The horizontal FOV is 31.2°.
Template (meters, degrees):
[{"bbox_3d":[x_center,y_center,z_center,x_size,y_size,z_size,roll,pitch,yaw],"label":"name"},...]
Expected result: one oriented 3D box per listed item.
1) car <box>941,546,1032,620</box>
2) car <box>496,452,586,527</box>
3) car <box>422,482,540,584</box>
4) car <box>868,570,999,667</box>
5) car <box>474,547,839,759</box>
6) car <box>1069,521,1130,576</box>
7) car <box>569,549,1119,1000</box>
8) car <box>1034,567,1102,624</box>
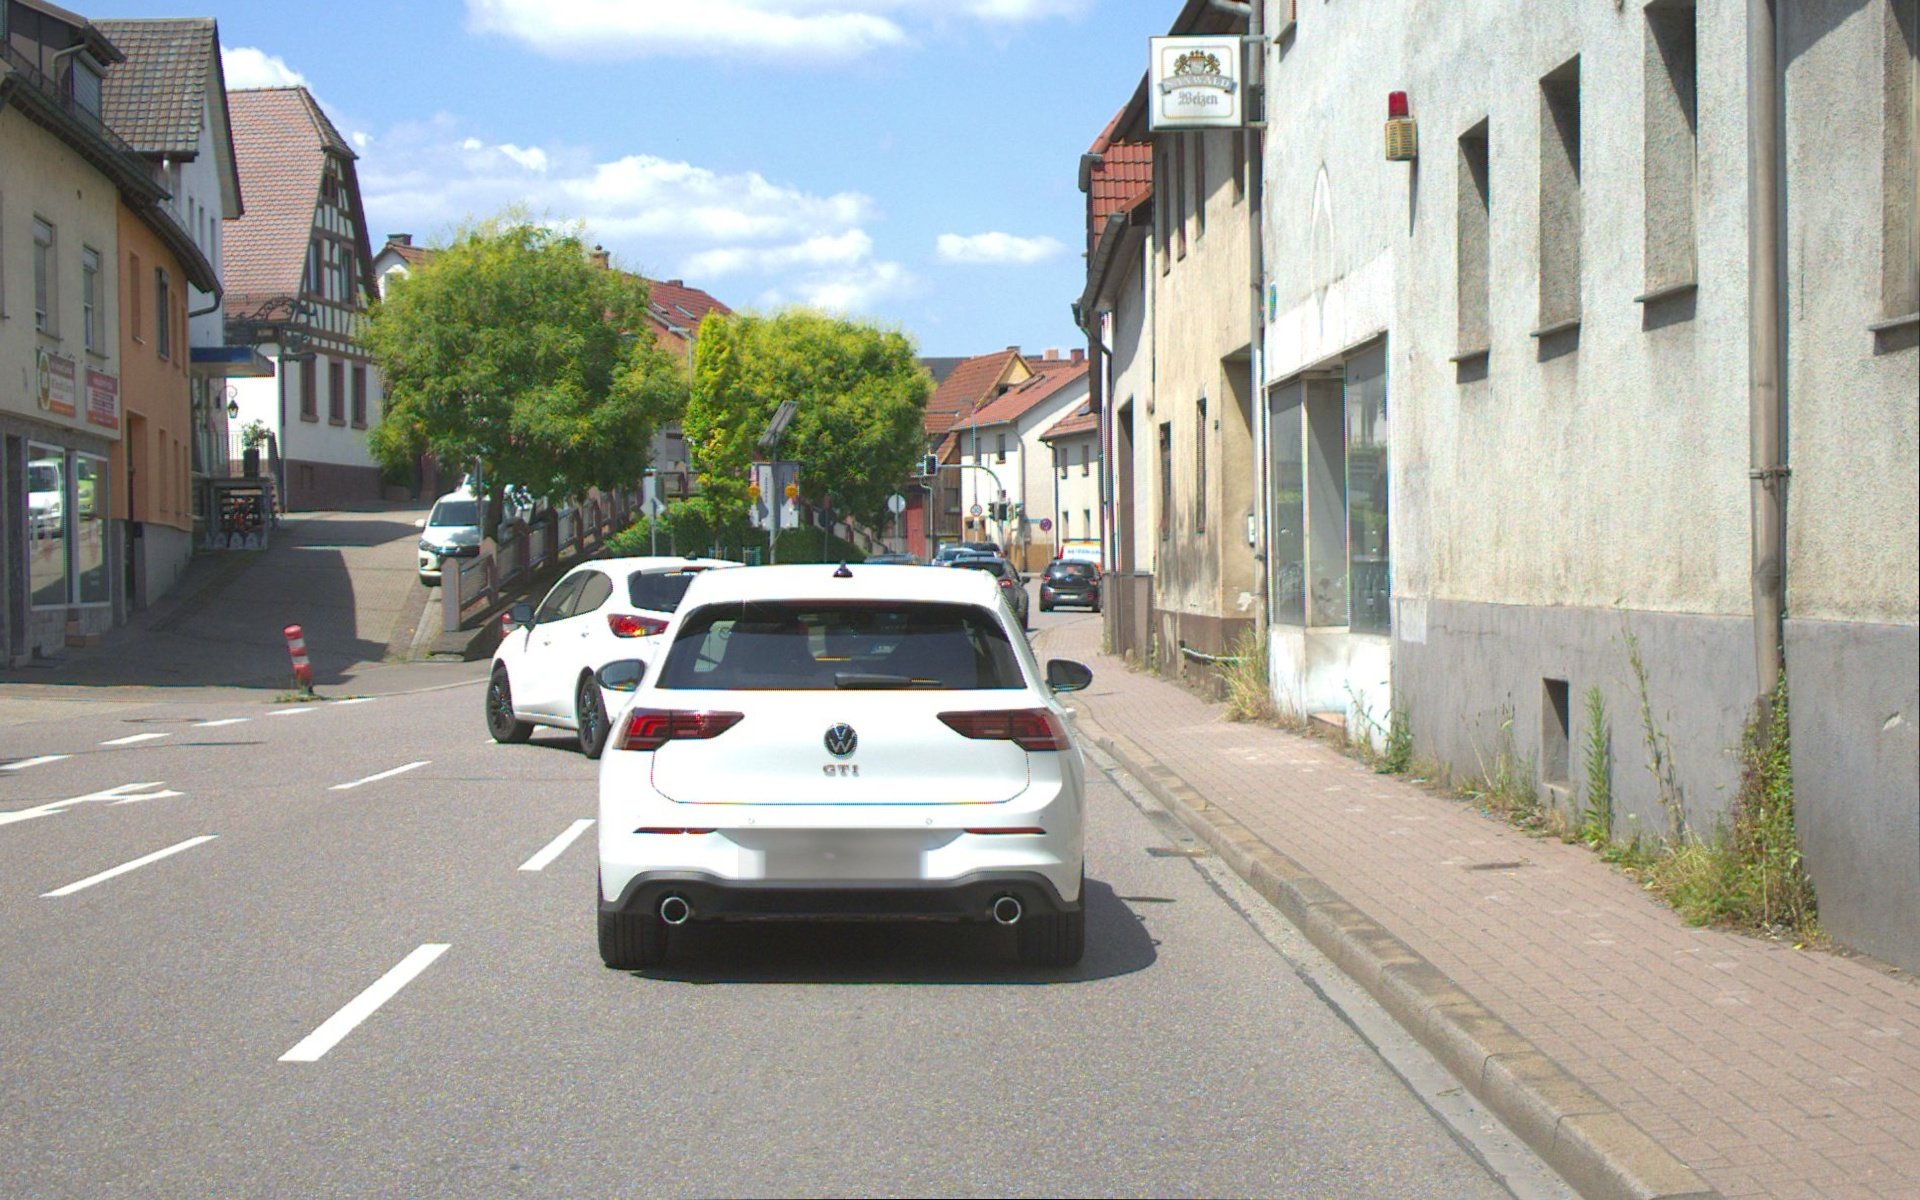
[{"bbox_3d":[0.588,-0.383,73.766,1.775,1.533,4.000,0,1,3],"label":"car"},{"bbox_3d":[-9.228,-2.454,75.963,1.576,1.357,3.857,0,6,-1],"label":"car"},{"bbox_3d":[-8.850,-1.263,63.758,1.693,1.537,3.857,0,6,-1],"label":"car"},{"bbox_3d":[-0.387,0.276,55.545,1.808,1.462,4.000,1,0,3],"label":"car"},{"bbox_3d":[-2.395,0.353,26.196,1.807,1.462,4.001,1,0,-19],"label":"car"},{"bbox_3d":[4.602,-1.683,112.835,1.776,1.759,3.999,0,1,6],"label":"car"},{"bbox_3d":[-0.360,0.568,13.509,1.808,1.462,4.000,1,0,1],"label":"car"},{"bbox_3d":[3.066,-0.139,97.047,1.775,1.533,4.000,0,1,4],"label":"car"}]
